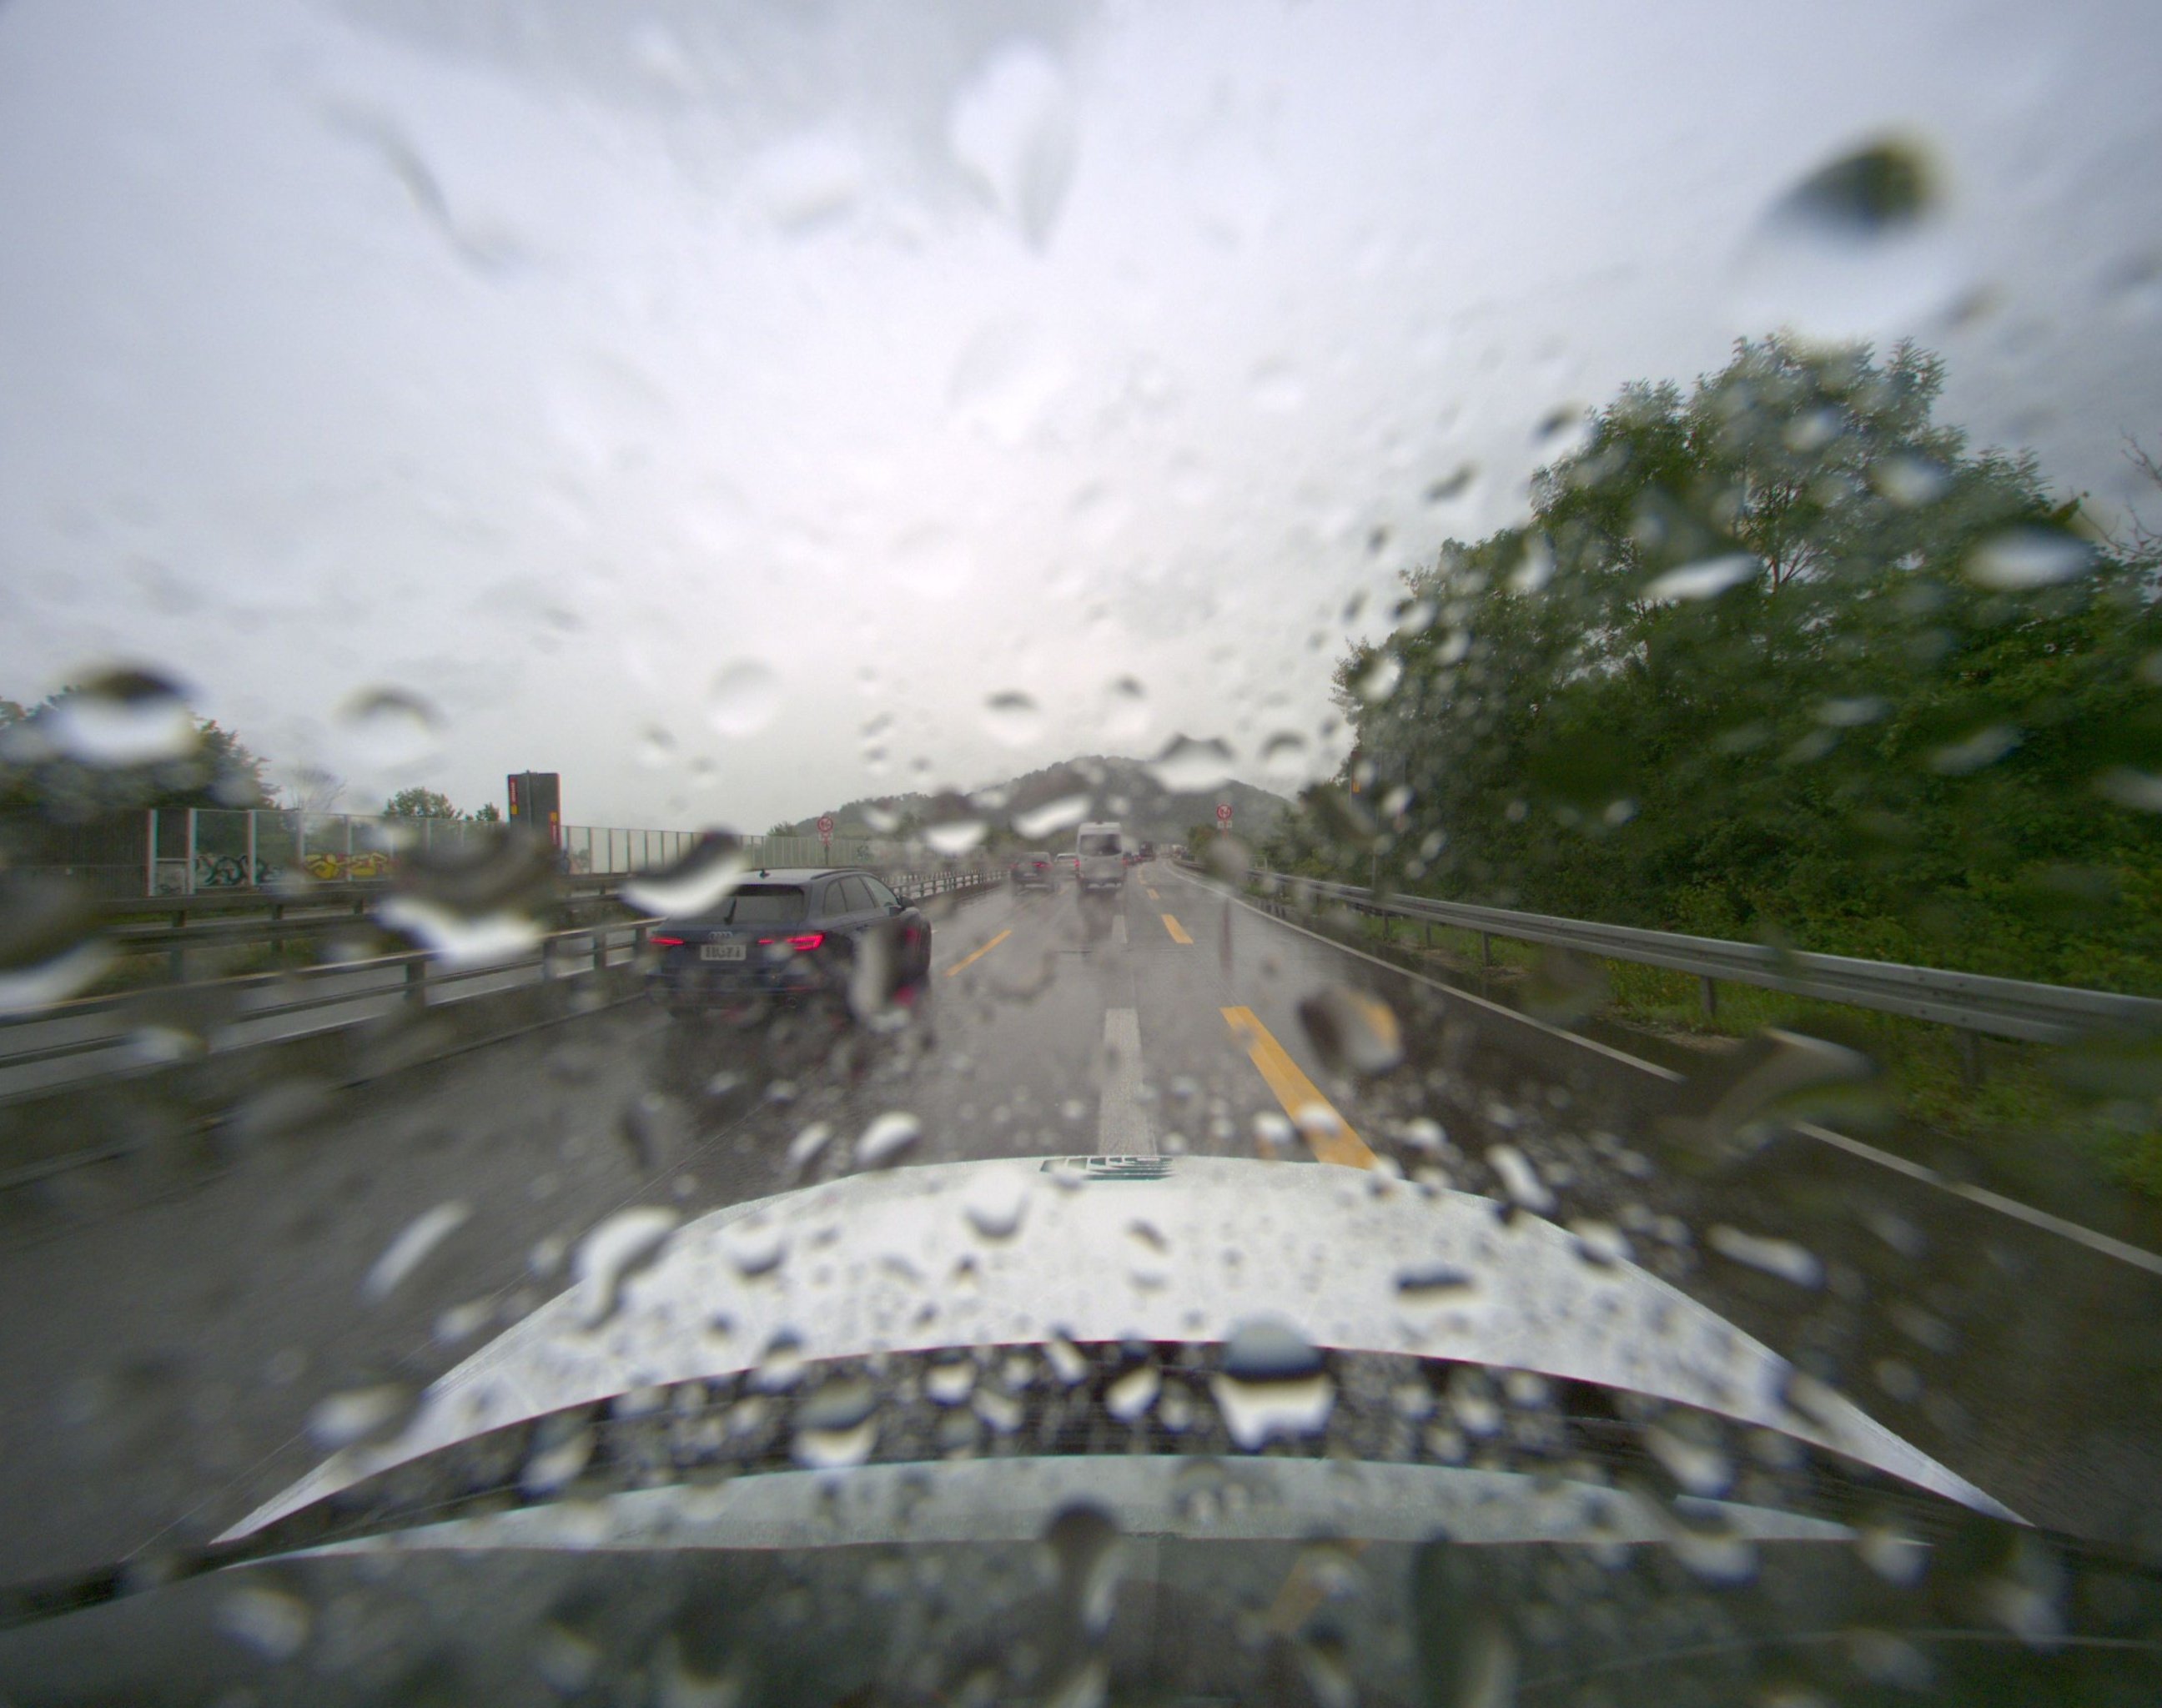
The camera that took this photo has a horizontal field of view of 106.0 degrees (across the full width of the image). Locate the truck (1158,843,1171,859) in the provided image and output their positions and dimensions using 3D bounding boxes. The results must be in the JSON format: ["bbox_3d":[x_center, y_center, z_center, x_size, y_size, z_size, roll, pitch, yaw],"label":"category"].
[{"bbox_3d":[23.842,-0.866,232.194,3.019,4.406,9.645,0,-1,8],"label":"truck"}]

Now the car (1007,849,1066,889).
[{"bbox_3d":[-1.823,0.630,34.804,1.985,1.585,4.418,0,-1,4],"label":"car"}]

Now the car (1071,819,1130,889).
[{"bbox_3d":[0.868,0.016,32.592,2.136,2.571,5.394,0,-1,3],"label":"car"}]

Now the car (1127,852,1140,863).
[{"bbox_3d":[7.556,0.490,116.346,1.765,1.475,4.005,0,-1,5],"label":"car"}]

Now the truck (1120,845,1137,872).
[{"bbox_3d":[5.722,0.536,97.439,1.985,3.109,8.507,0,-1,4],"label":"truck"}]

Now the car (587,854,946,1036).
[{"bbox_3d":[-3.008,0.779,9.084,1.985,1.498,4.634,0,-1,3],"label":"car"}]

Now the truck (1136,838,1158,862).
[{"bbox_3d":[12.842,-0.746,157.623,3.561,4.406,9.644,0,-1,8],"label":"truck"}]

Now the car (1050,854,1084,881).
[{"bbox_3d":[-0.857,0.814,50.931,1.987,1.617,4.795,0,-1,-1],"label":"car"}]
